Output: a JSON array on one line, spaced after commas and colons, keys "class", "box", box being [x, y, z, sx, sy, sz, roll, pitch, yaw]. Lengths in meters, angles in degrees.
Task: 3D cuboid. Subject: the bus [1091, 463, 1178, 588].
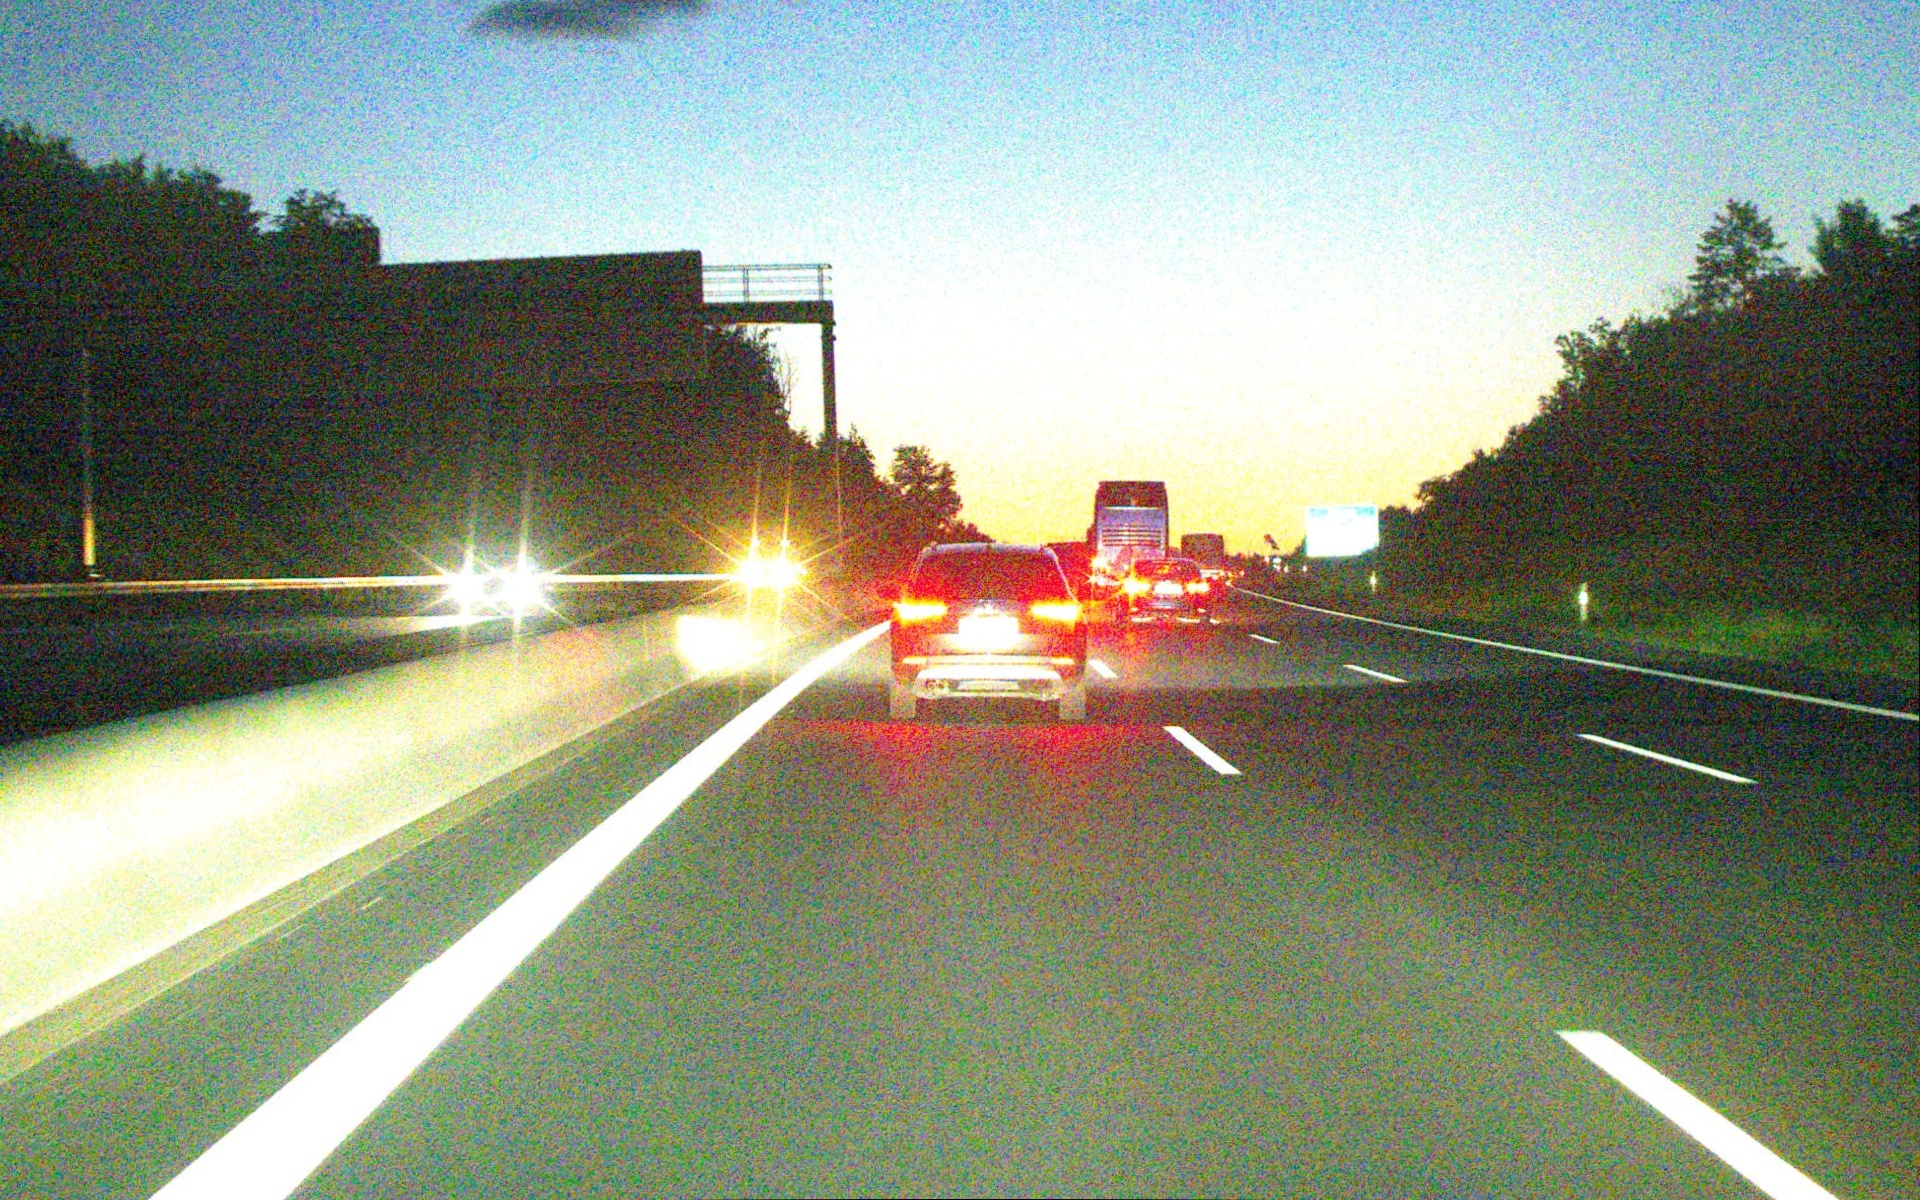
[{"class": "bus", "box": [6.331, -2.531, 123.110, 2.652, 3.980, 14.699, -2, -1, 4]}]

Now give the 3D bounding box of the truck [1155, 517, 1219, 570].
[{"class": "truck", "box": [13.355, -3.339, 202.651, 2.545, 3.005, 9.054, 1, 1, -4]}]

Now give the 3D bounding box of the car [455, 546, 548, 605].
[{"class": "car", "box": [-11.490, -0.635, 86.392, 1.813, 1.448, 4.134, 0, 1, 0]}]

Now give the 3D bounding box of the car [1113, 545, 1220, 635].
[{"class": "car", "box": [4.223, -0.185, 70.897, 1.911, 1.724, 4.000, 3, 0, 1]}]

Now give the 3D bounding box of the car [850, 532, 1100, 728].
[{"class": "car", "box": [0.066, 0.222, 32.024, 2.105, 1.612, 4.205, 1, 2, -2]}]

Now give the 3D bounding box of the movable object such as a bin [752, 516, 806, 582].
[{"class": "movable object such as a bin", "box": [-9.527, -2.668, 181.399, 2.208, 3.405, 7.437, 0, 1, 2]}]
